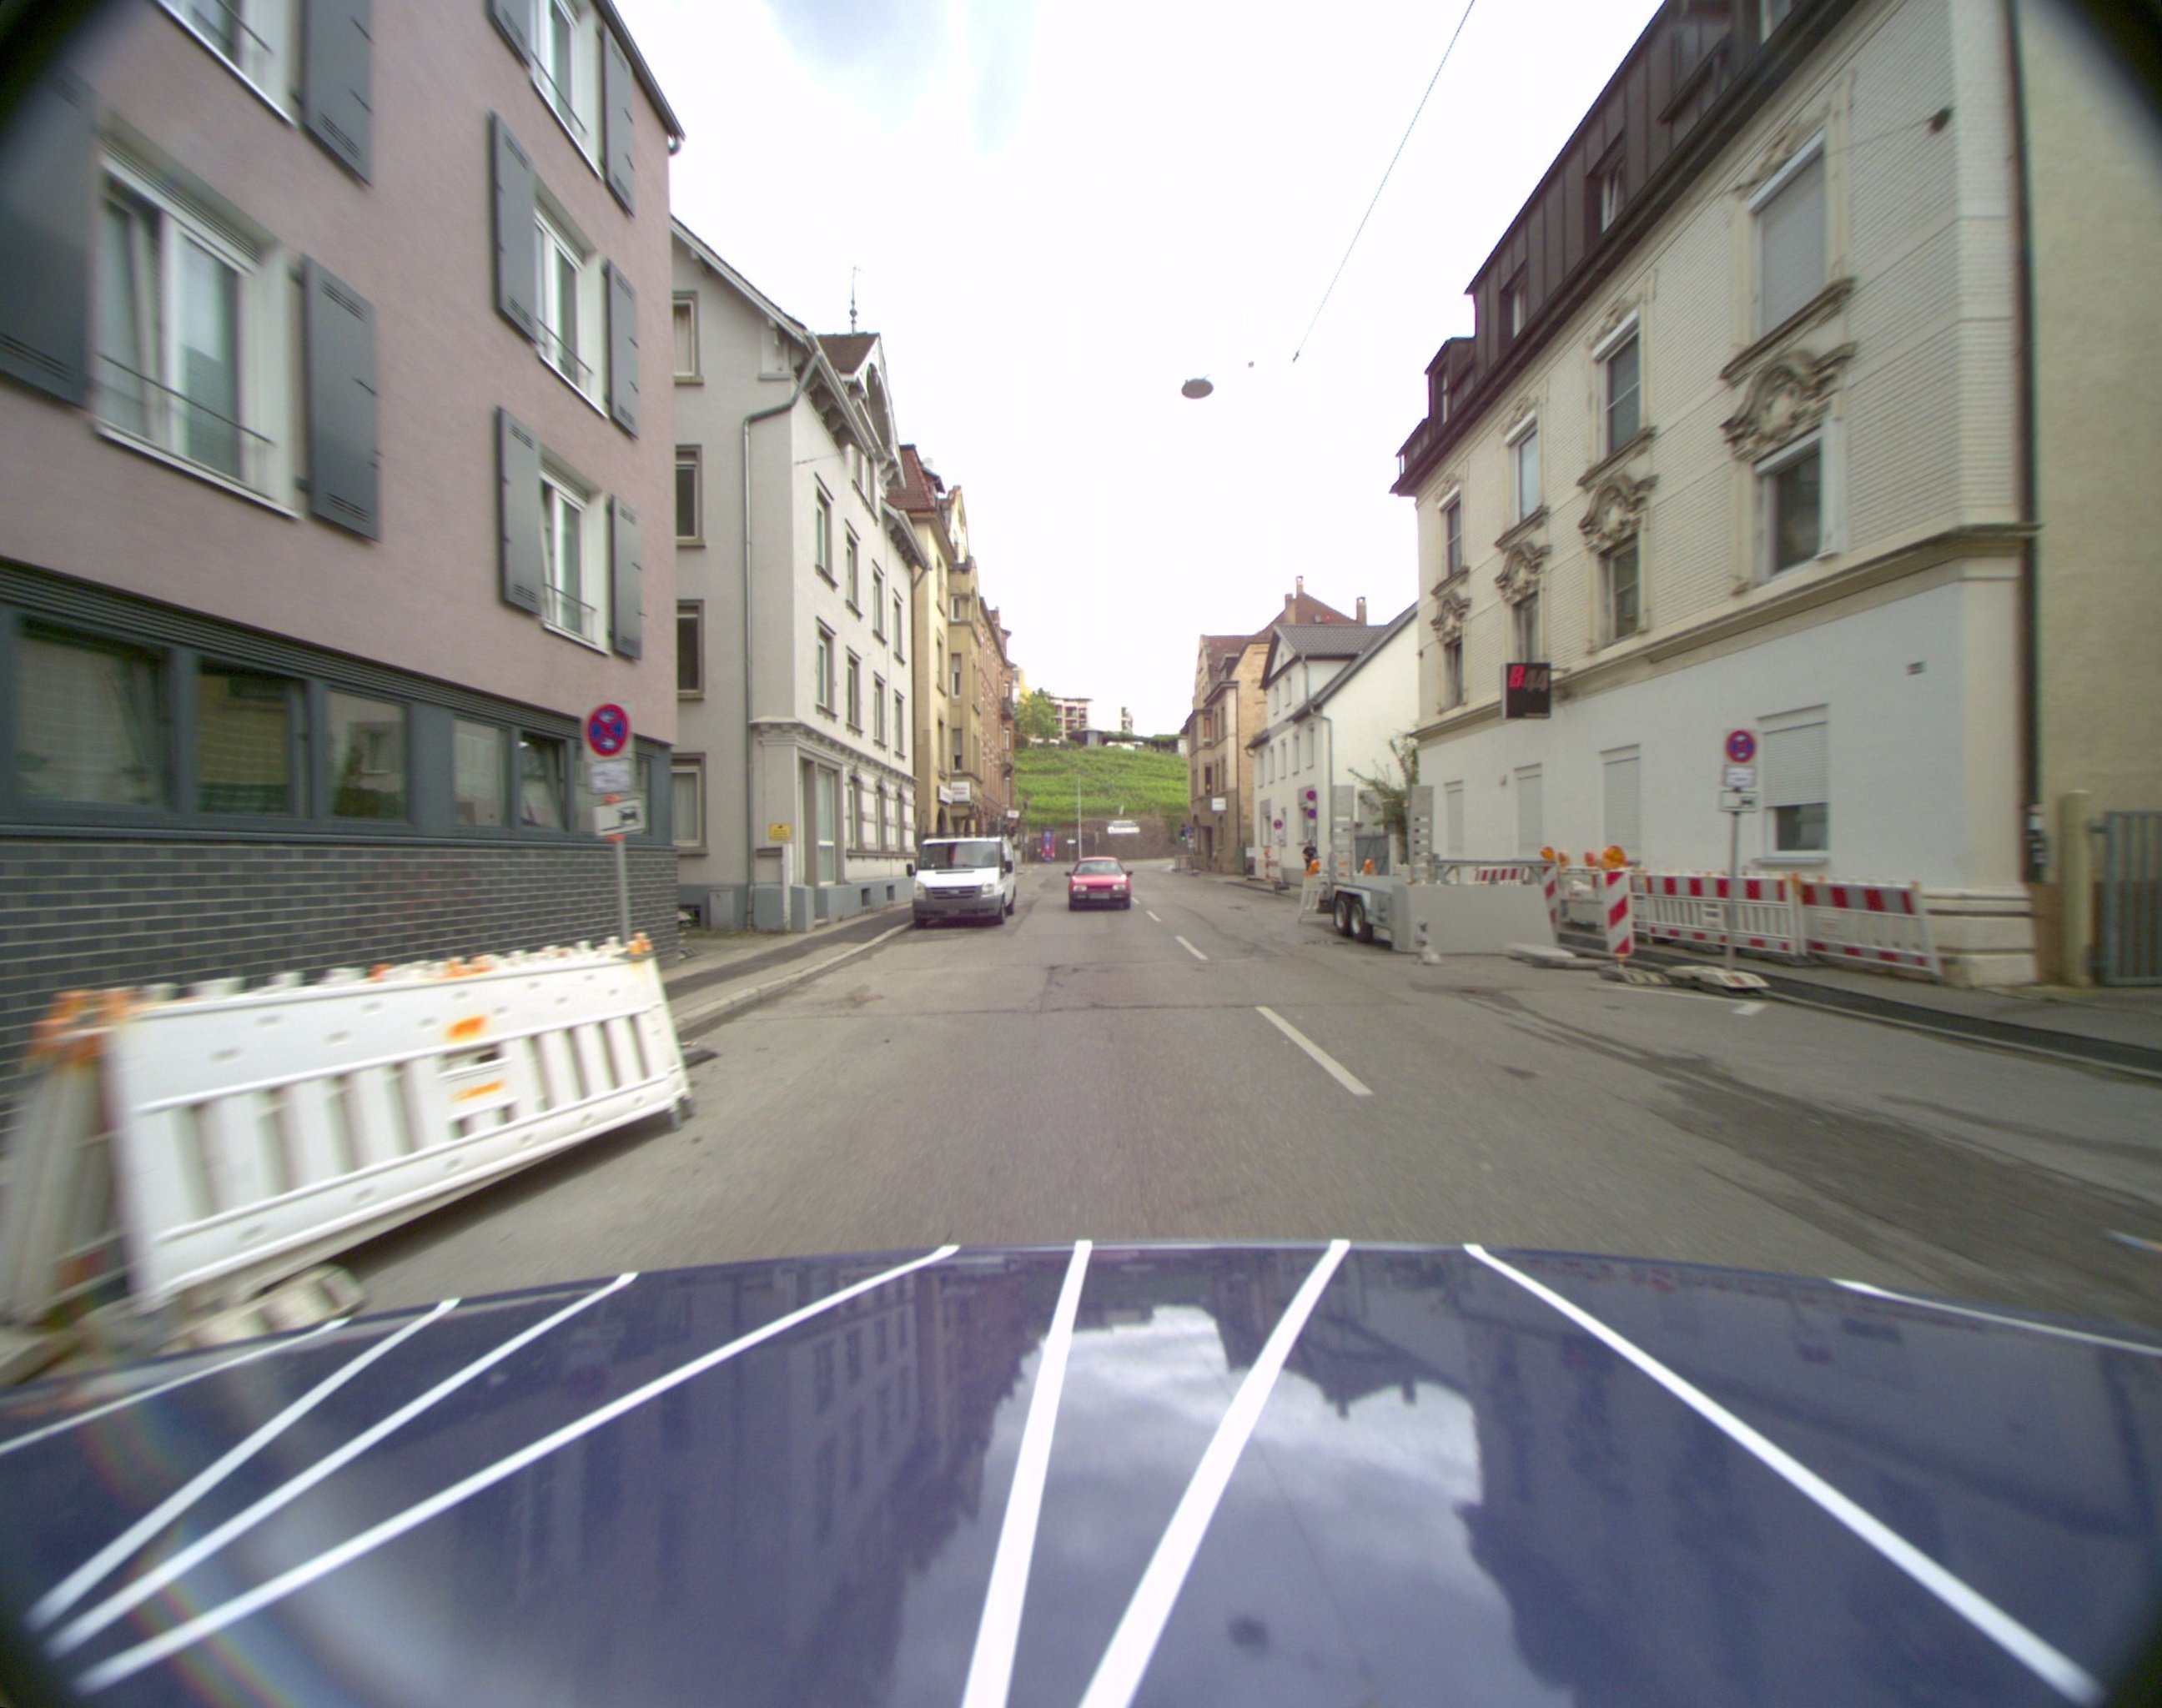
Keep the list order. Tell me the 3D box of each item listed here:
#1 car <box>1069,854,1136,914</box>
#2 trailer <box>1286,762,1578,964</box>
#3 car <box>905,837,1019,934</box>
[{"bbox_3d":[0.579,0.746,20.740,1.626,1.387,4.000,-1,1,1],"label":"car"},{"bbox_3d":[5.724,0.085,13.716,2.451,2.788,6.302,0,1,2],"label":"trailer"},{"bbox_3d":[-2.653,0.622,18.167,1.999,1.970,4.876,-1,1,-1],"label":"car"}]
